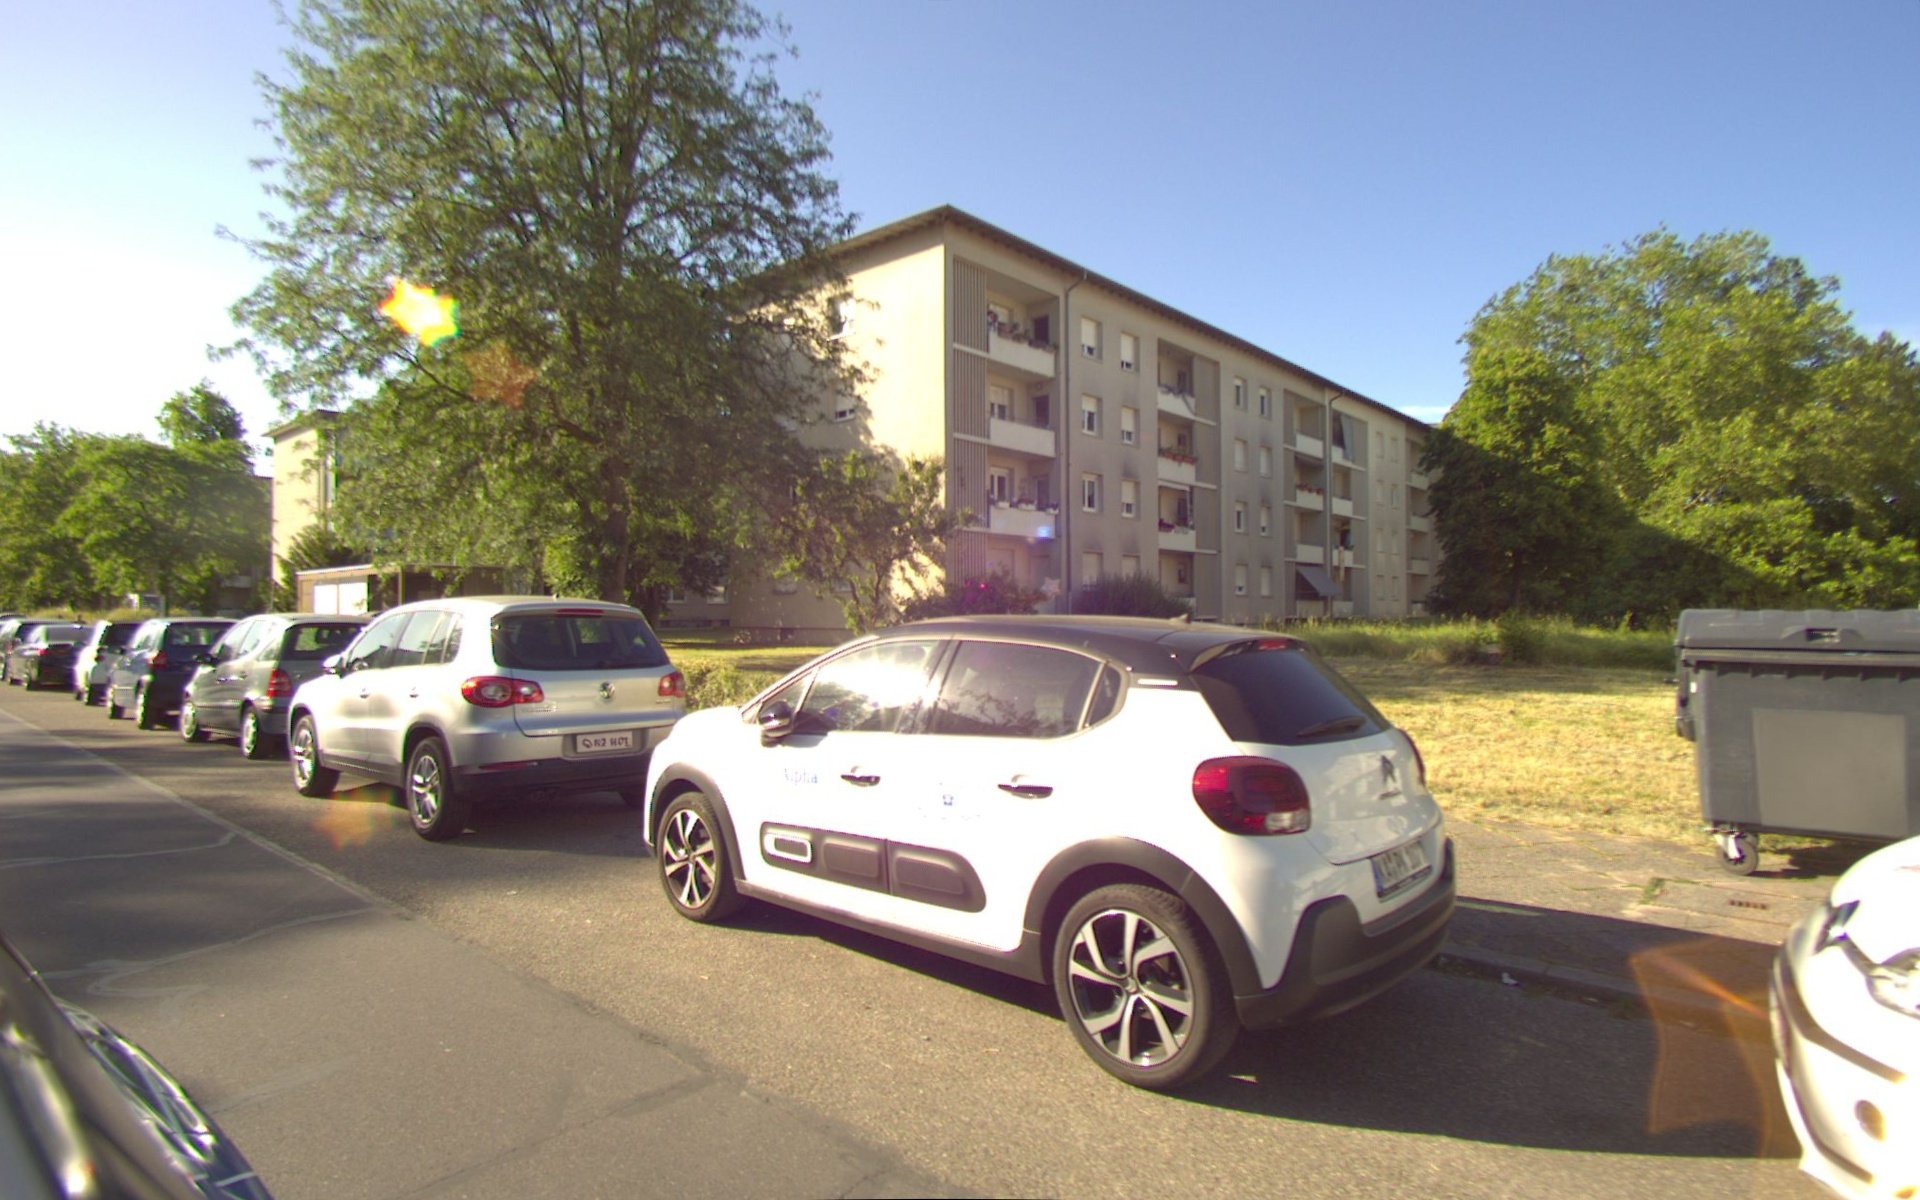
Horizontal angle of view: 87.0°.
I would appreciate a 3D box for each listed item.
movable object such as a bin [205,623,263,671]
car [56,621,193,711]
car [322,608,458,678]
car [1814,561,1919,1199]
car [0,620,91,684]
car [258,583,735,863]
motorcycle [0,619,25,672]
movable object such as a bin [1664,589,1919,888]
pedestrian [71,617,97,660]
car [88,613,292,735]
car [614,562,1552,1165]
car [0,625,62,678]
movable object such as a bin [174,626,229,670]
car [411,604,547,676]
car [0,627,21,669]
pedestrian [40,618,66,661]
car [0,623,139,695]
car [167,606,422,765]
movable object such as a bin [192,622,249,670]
[{"bbox_3d":[-21.654,1.387,30.179,1.343,1.350,1.165,-2,-1,43],"label":"movable object such as a bin"},{"bbox_3d":[-15.979,1.219,19.318,3.140,1.586,1.429,-1,-4,40],"label":"car"},{"bbox_3d":[-13.905,1.004,24.589,3.996,1.537,1.555,-1,0,40],"label":"car"},{"bbox_3d":[3.697,0.682,1.506,3.530,1.525,1.648,-1,-2,35],"label":"car"},{"bbox_3d":[-24.503,1.347,26.719,3.717,1.586,1.736,-1,-3,40],"label":"car"},{"bbox_3d":[-3.896,0.789,8.148,4.347,1.652,1.883,-1,-2,41],"label":"car"},{"bbox_3d":[-32.037,1.456,32.895,0.931,1.740,2.234,-1,-4,38],"label":"motorcycle"},{"bbox_3d":[4.749,0.662,5.422,1.442,1.393,1.124,-2,1,43],"label":"movable object such as a bin"},{"bbox_3d":[-35.096,1.551,40.548,0.599,1.692,0.713,-2,-1,41],"label":"pedestrian"},{"bbox_3d":[-11.829,1.056,15.458,3.968,1.618,1.735,-2,-4,42],"label":"car"},{"bbox_3d":[0.214,0.723,4.530,3.945,1.525,1.644,-1,-3,43],"label":"car"},{"bbox_3d":[-28.178,1.511,30.120,3.959,1.492,1.735,-2,-4,43],"label":"car"},{"bbox_3d":[-23.882,1.495,31.857,1.343,1.297,1.165,-2,-1,42],"label":"movable object such as a bin"},{"bbox_3d":[-12.169,0.966,25.486,3.996,1.653,1.555,-1,0,40],"label":"car"},{"bbox_3d":[-34.983,1.679,36.098,4.267,1.432,1.736,-1,-4,41],"label":"car"},{"bbox_3d":[-35.729,1.549,39.870,0.616,1.692,0.713,-2,-1,41],"label":"pedestrian"},{"bbox_3d":[-20.430,1.298,23.126,4.534,1.492,1.736,-1,-4,40],"label":"car"},{"bbox_3d":[-8.033,0.923,12.118,3.532,1.618,1.619,-1,-2,41],"label":"car"},{"bbox_3d":[-22.697,1.404,31.063,1.343,1.418,1.165,-2,-1,42],"label":"movable object such as a bin"}]
